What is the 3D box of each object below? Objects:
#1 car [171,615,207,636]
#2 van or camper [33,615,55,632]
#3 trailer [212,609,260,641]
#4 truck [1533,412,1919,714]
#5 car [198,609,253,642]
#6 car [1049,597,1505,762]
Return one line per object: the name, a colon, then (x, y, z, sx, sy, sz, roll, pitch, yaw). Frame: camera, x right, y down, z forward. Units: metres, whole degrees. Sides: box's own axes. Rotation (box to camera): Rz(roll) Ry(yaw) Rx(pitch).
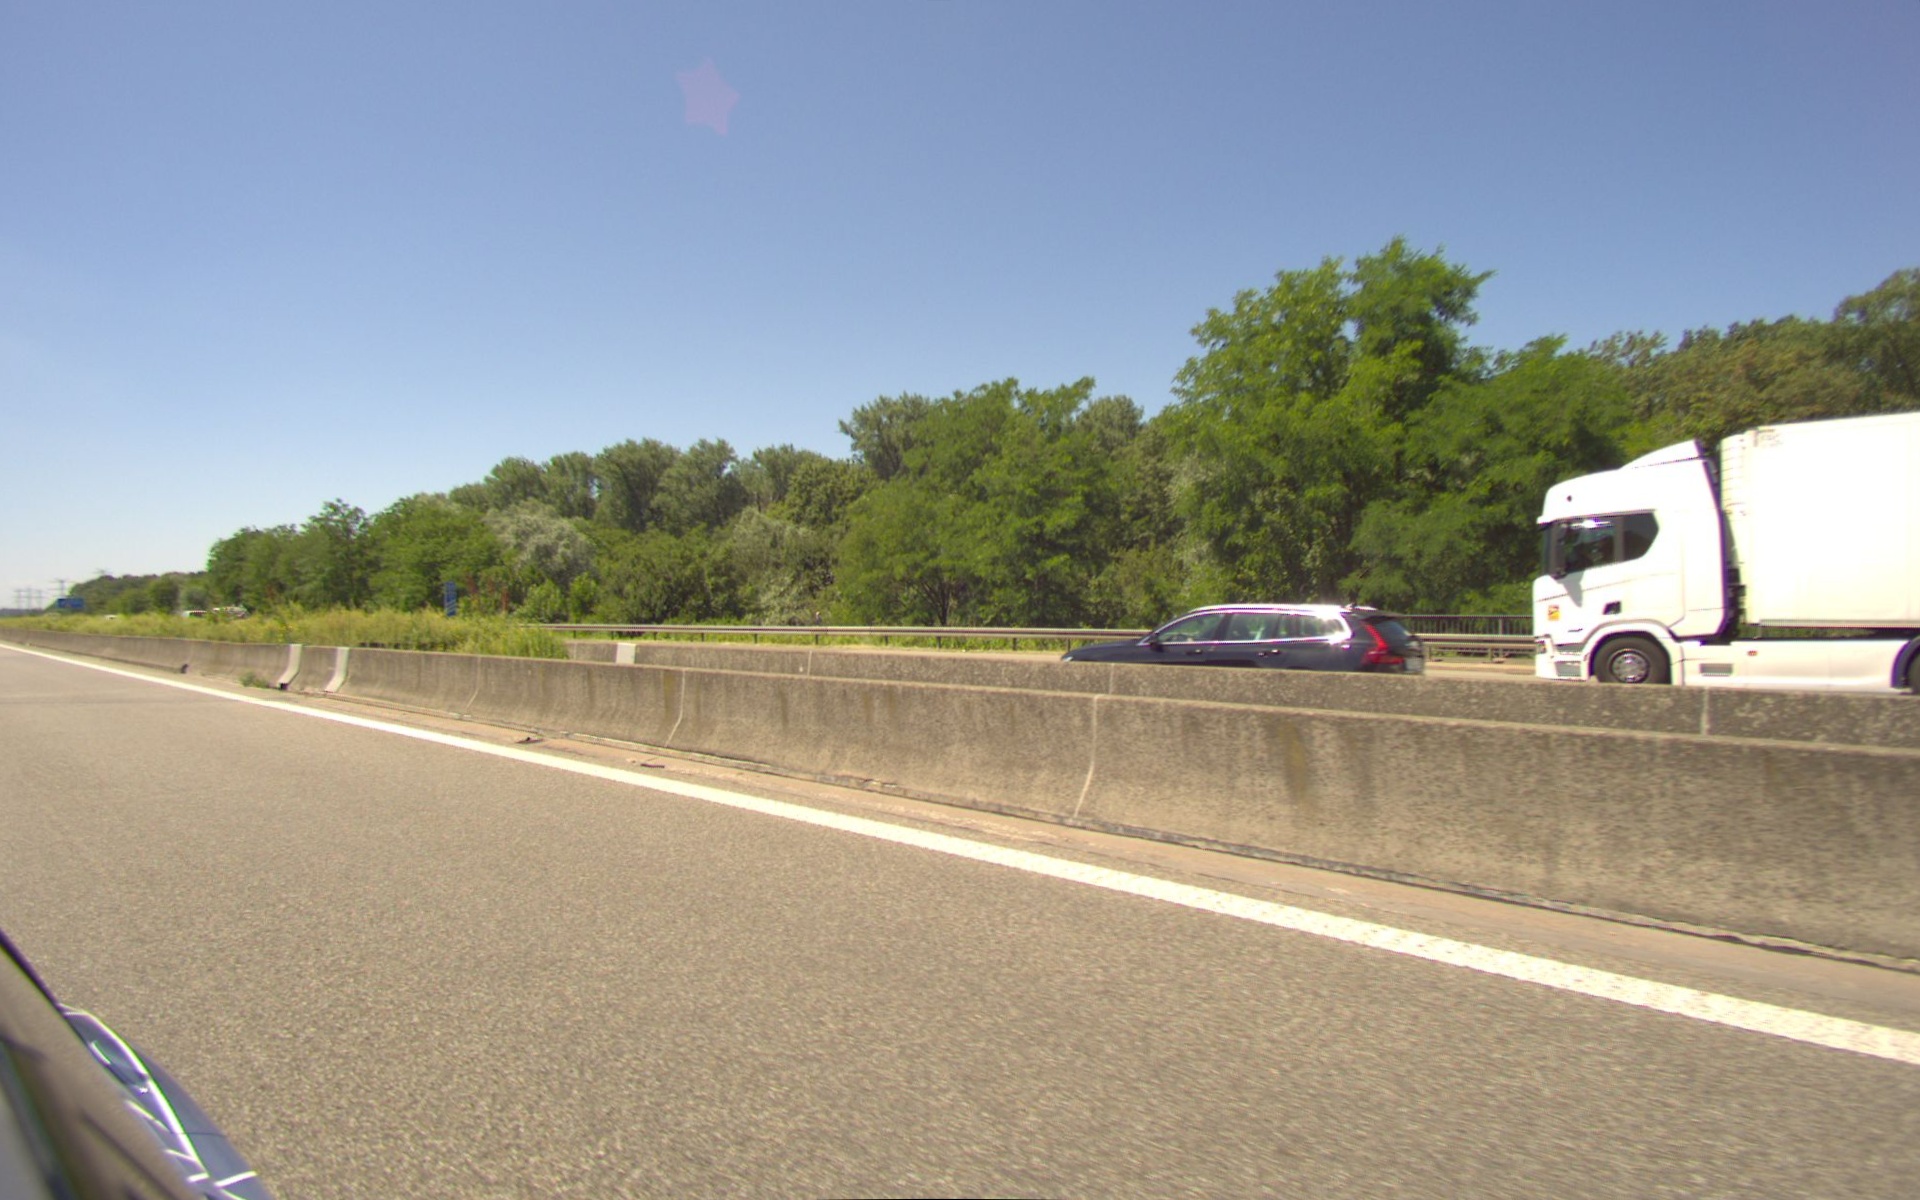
car: (-73.974, 2.438, 97.067, 4.619, 2.029, 1.971, -2, -2, 43)
van or camper: (-140.375, 3.617, 155.114, 2.224, 2.405, 6.765, 1, -2, -44)
trailer: (-46.776, 1.619, 65.414, 2.369, 2.041, 2.080, -2, -1, 42)
truck: (13.454, -0.480, 14.836, 8.286, 4.007, 3.016, -2, -1, 42)
car: (-49.030, 1.678, 67.521, 4.970, 2.098, 2.101, -2, -2, 43)
car: (3.714, 0.827, 12.500, 5.013, 1.640, 1.973, -1, -1, 41)
